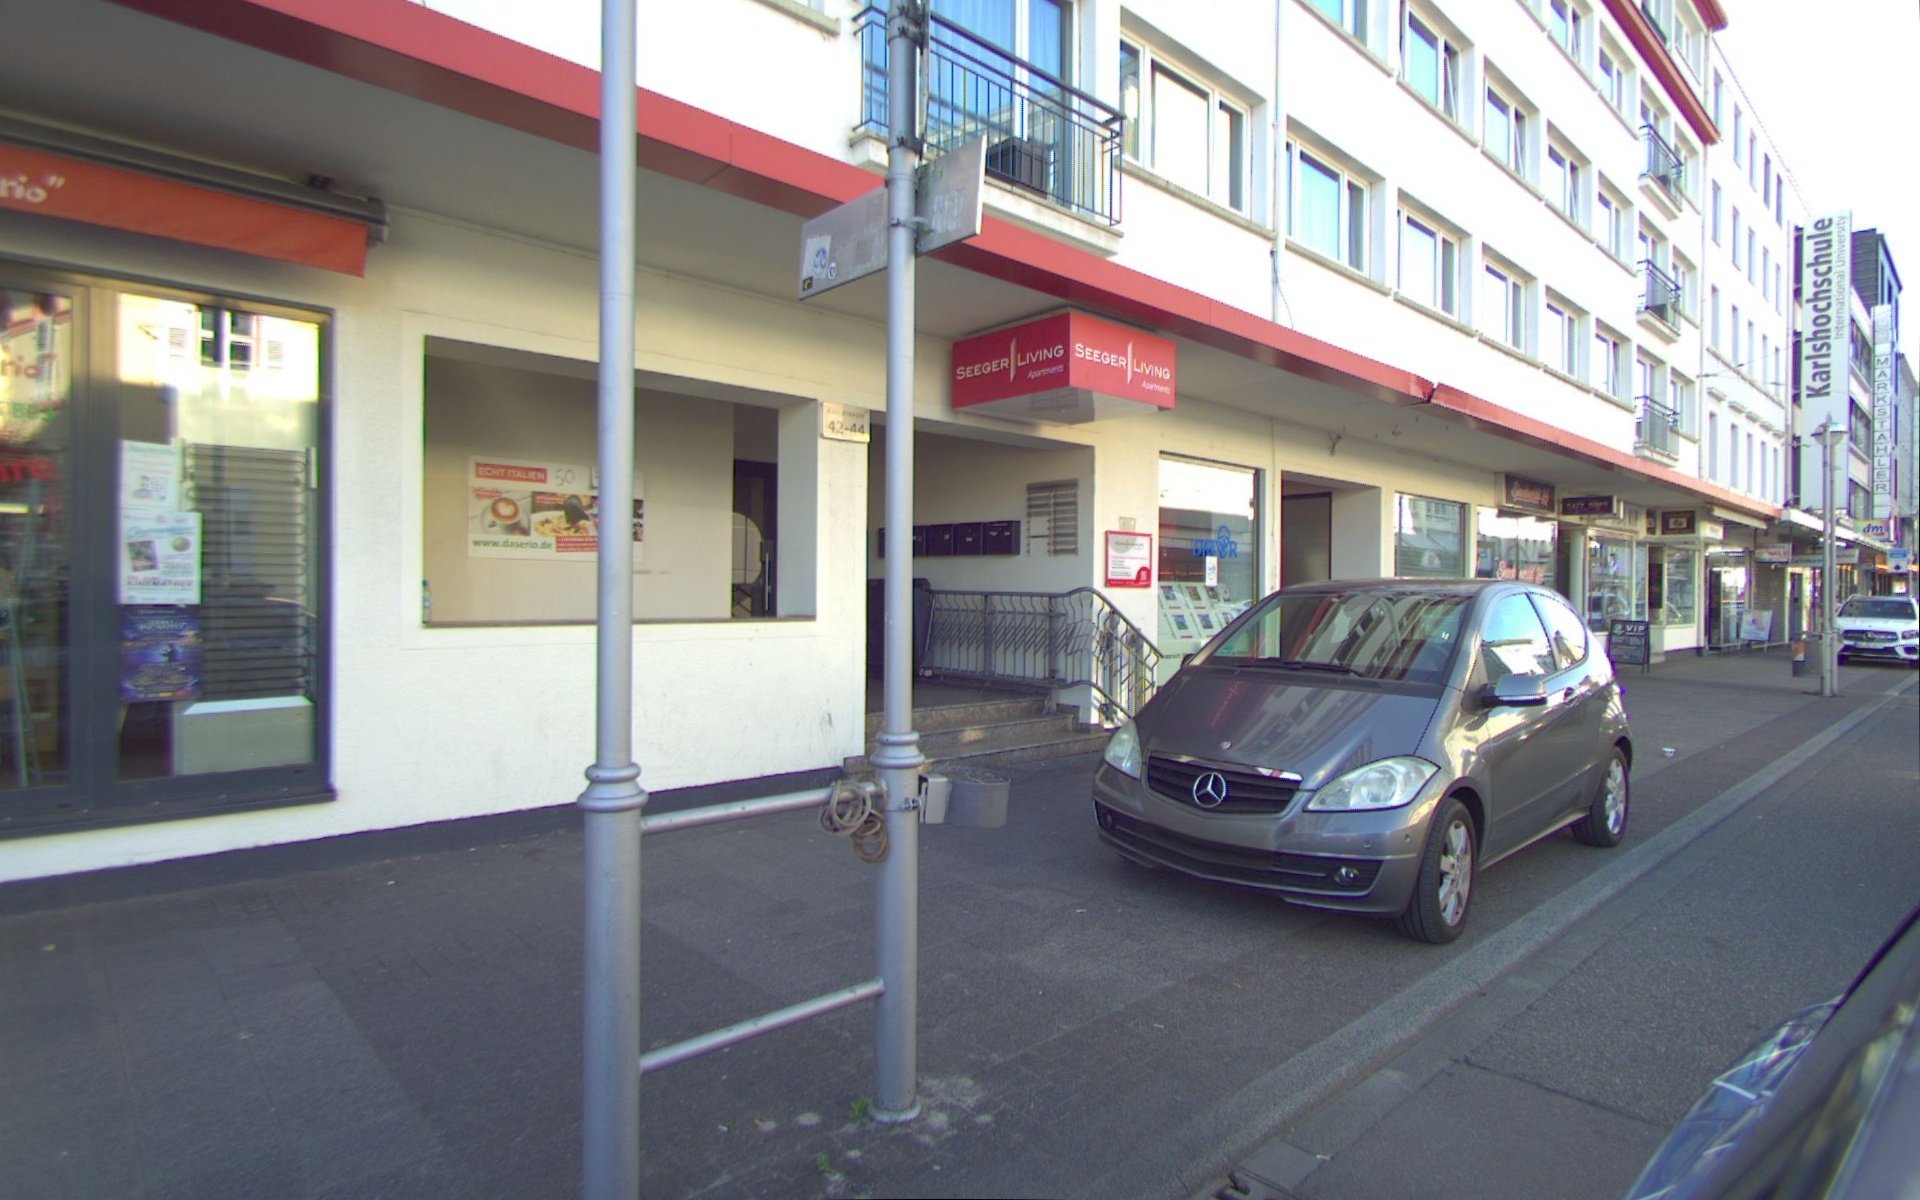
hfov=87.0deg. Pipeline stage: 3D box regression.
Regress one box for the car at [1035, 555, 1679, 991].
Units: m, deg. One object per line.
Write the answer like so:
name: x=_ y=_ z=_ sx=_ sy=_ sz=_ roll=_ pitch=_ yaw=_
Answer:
car: x=2.415 y=0.579 z=5.648 sx=3.893 sy=1.588 sz=1.780 roll=-1 pitch=2 yaw=-42

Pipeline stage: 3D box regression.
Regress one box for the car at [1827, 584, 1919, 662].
car: x=22.222 y=0.482 z=24.145 sx=4.092 sy=1.684 sz=1.781 roll=-1 pitch=2 yaw=-42

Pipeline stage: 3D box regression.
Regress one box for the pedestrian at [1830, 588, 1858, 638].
pedestrian: x=32.573 y=0.467 z=37.294 sx=0.794 sy=1.840 sz=0.704 roll=0 pitch=0 yaw=-44
